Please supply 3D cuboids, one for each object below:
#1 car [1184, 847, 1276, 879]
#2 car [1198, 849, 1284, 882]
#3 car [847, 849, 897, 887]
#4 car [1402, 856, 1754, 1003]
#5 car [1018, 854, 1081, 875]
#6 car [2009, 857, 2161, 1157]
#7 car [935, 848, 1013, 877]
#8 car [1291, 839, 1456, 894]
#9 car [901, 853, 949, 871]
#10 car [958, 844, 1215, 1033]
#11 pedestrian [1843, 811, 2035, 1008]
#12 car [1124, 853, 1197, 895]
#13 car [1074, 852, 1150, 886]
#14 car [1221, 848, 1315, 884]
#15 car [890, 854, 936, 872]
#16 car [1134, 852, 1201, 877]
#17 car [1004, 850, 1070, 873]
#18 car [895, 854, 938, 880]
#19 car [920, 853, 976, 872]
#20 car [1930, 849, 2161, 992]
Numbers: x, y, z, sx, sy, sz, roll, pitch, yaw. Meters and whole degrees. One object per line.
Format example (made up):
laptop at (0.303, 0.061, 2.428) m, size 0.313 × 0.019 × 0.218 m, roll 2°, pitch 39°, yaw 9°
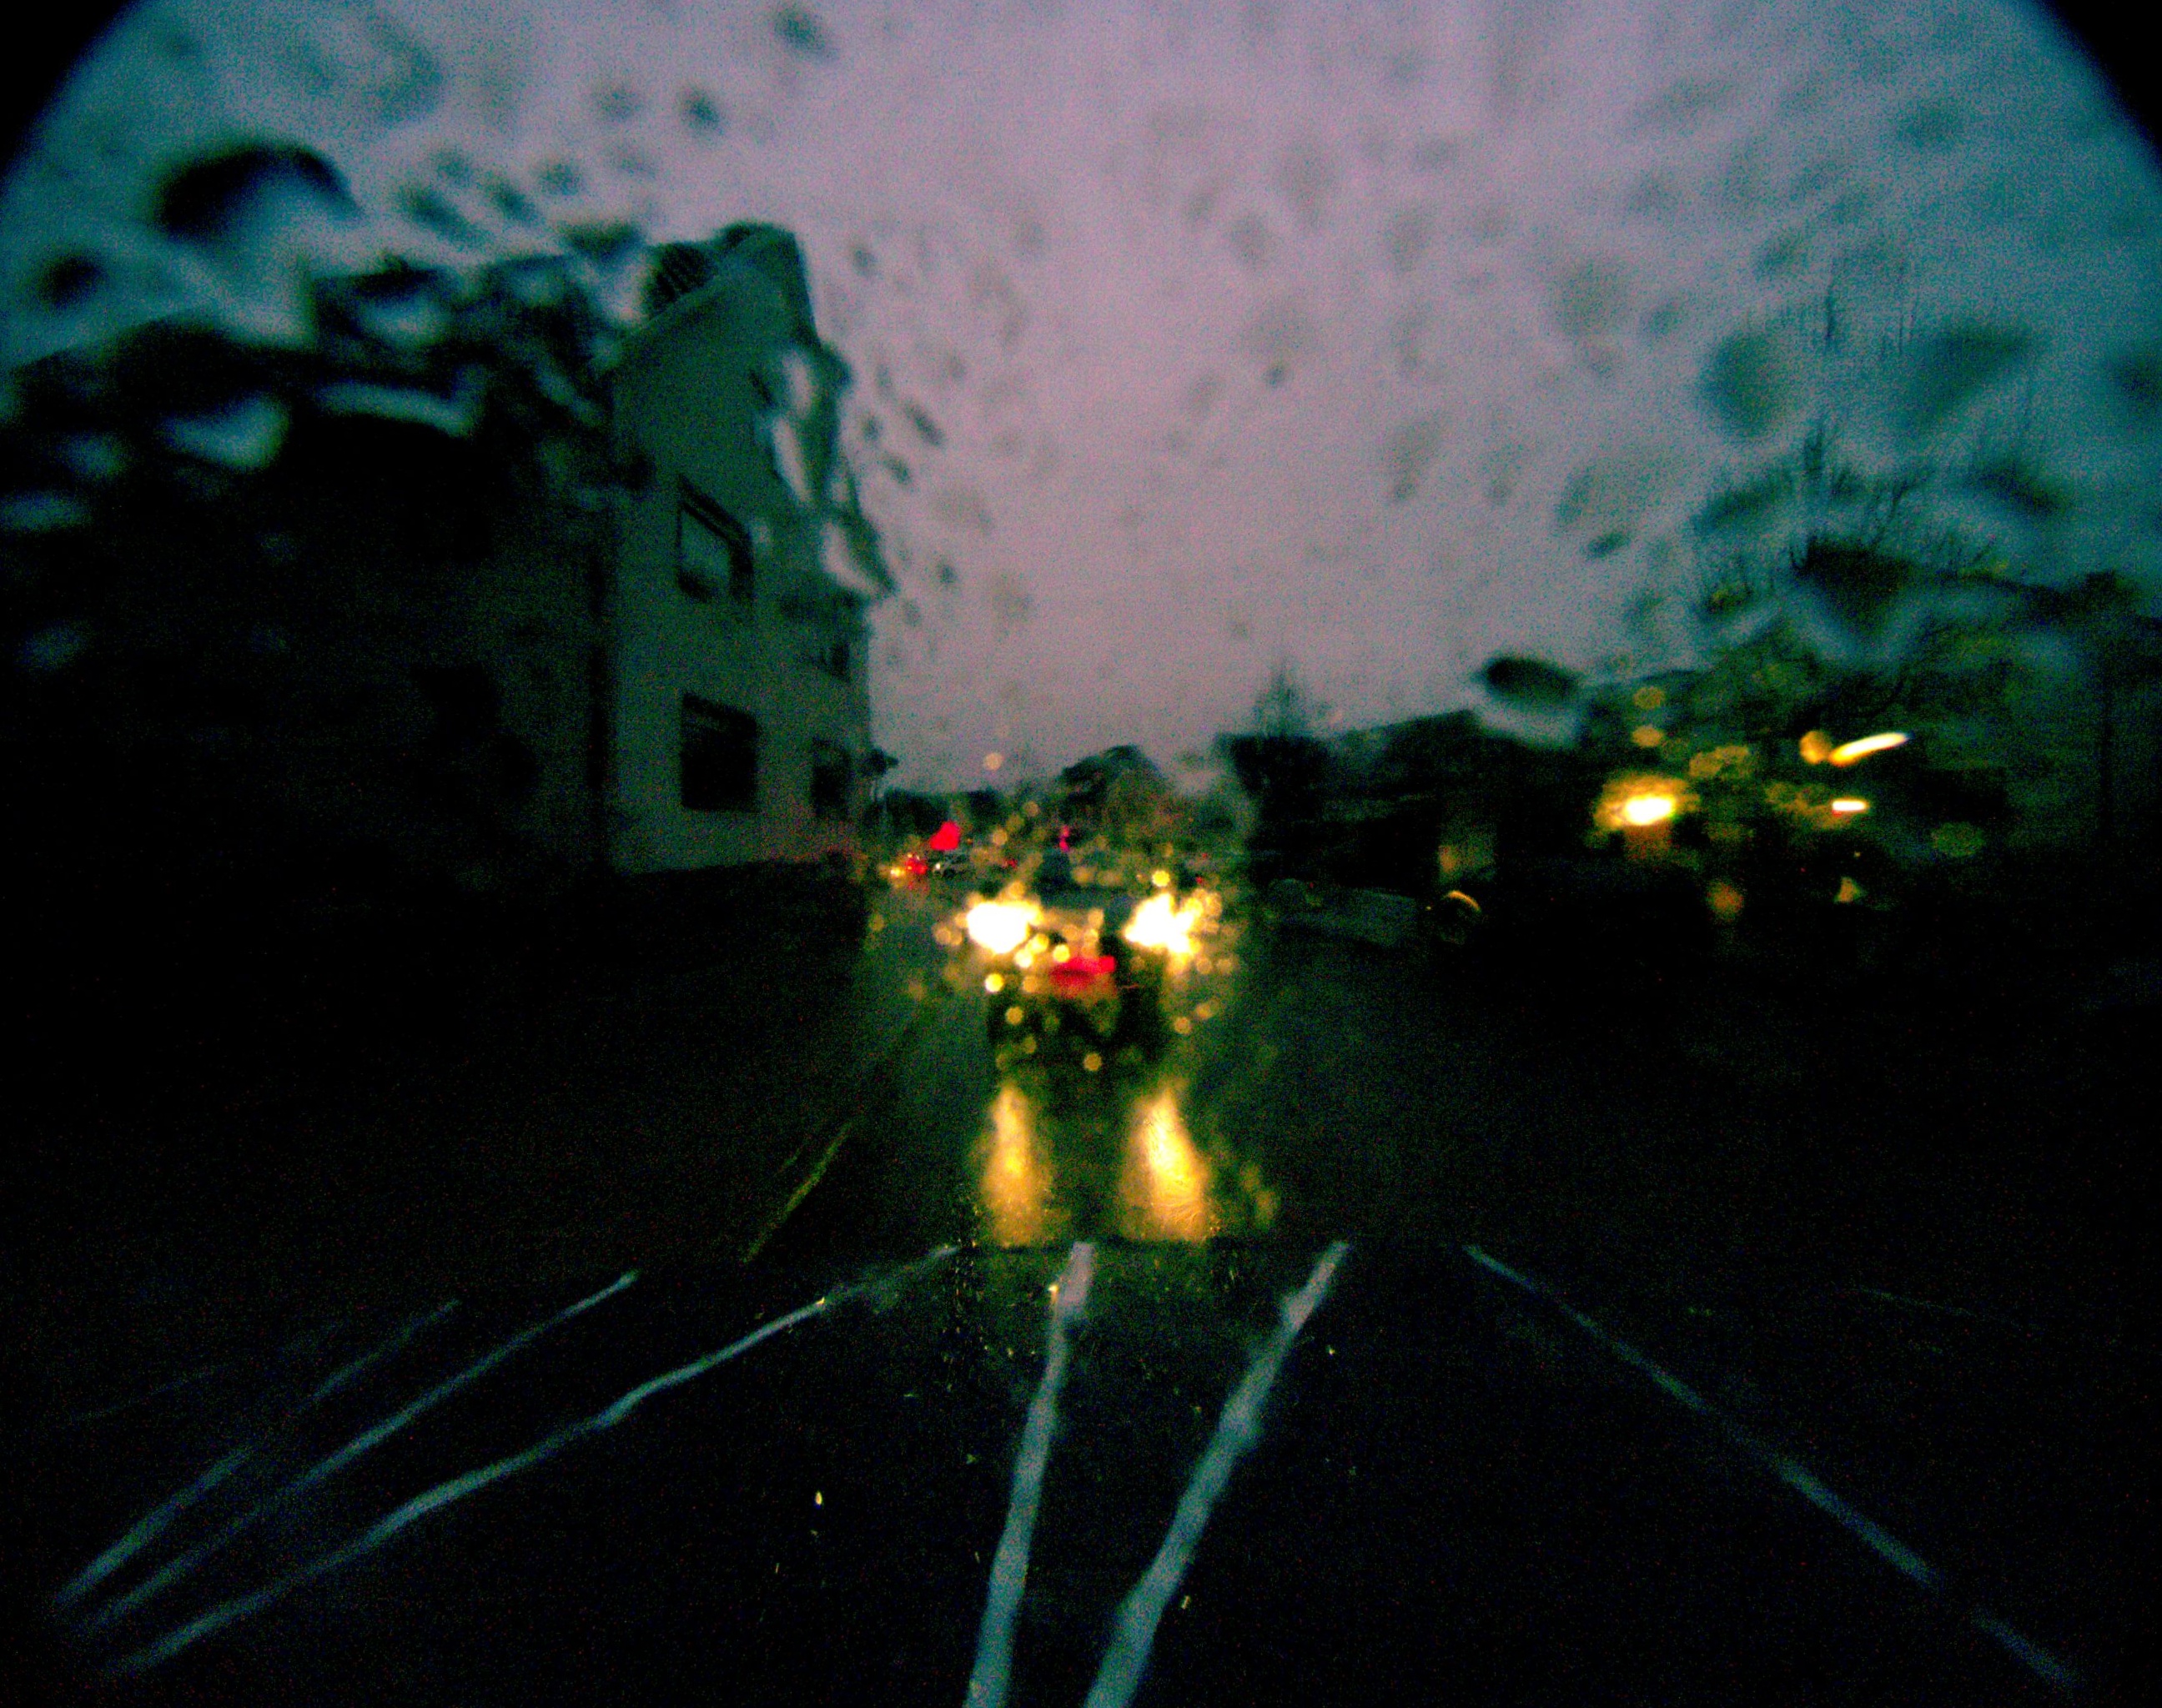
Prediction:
car at (7.882, 0.461, 40.442) m, size 4.649 × 1.644 × 1.989 m, roll 0°, pitch 1°, yaw 9°
car at (7.870, 0.561, 37.641) m, size 4.107 × 1.573 × 1.722 m, roll 0°, pitch 1°, yaw 9°
car at (-11.548, 0.742, 41.790) m, size 1.982 × 1.948 × 4.842 m, roll -1°, pitch 0°, yaw -23°
car at (6.227, 0.807, 10.294) m, size 1.751 × 1.464 × 4.457 m, roll -2°, pitch 0°, yaw -1°
car at (-2.580, 0.897, 62.142) m, size 4.775 × 1.625 × 1.997 m, roll 1°, pitch -1°, yaw -21°
car at (6.454, 0.788, 2.673) m, size 1.697 × 1.507 × 3.772 m, roll -2°, pitch 0°, yaw -2°
car at (-8.428, 0.657, 59.722) m, size 5.783 × 1.934 × 1.988 m, roll -2°, pitch 0°, yaw -16°
car at (10.401, 0.416, 27.468) m, size 5.387 × 1.874 × 2.076 m, roll 0°, pitch 0°, yaw 16°
car at (-16.215, 0.831, 79.137) m, size 4.524 × 1.855 × 1.864 m, roll -1°, pitch 0°, yaw -30°
car at (-0.063, 0.737, 9.355) m, size 2.270 × 1.633 × 5.064 m, roll -1°, pitch 0°, yaw -3°
pedestrian at (8.649, 0.527, 7.717) m, size 0.755 × 1.856 × 1.060 m, roll -1°, pitch 1°, yaw 1°
car at (3.173, 0.757, 30.979) m, size 1.840 × 1.527 × 3.671 m, roll -2°, pitch 1°, yaw -13°
car at (1.453, 0.722, 37.282) m, size 1.913 × 1.524 × 4.247 m, roll -2°, pitch 0°, yaw -26°
car at (8.531, 0.532, 34.801) m, size 3.993 × 1.521 × 2.002 m, roll -1°, pitch 0°, yaw 13°
car at (-17.987, 0.918, 81.217) m, size 4.435 × 1.790 × 1.840 m, roll -1°, pitch 0°, yaw -30°
car at (5.337, 0.625, 47.153) m, size 4.069 × 1.451 × 1.758 m, roll -1°, pitch 1°, yaw 4°
car at (-3.319, 0.563, 57.329) m, size 4.456 × 1.623 × 2.150 m, roll -1°, pitch 1°, yaw -29°
car at (-12.570, 0.938, 57.828) m, size 2.151 × 1.850 × 4.732 m, roll -2°, pitch 1°, yaw -25°
car at (-12.815, 0.812, 73.030) m, size 4.888 × 1.674 × 1.996 m, roll -1°, pitch -1°, yaw -28°
car at (12.486, 0.690, 8.187) m, size 4.078 × 1.468 × 1.742 m, roll 0°, pitch 0°, yaw 23°
